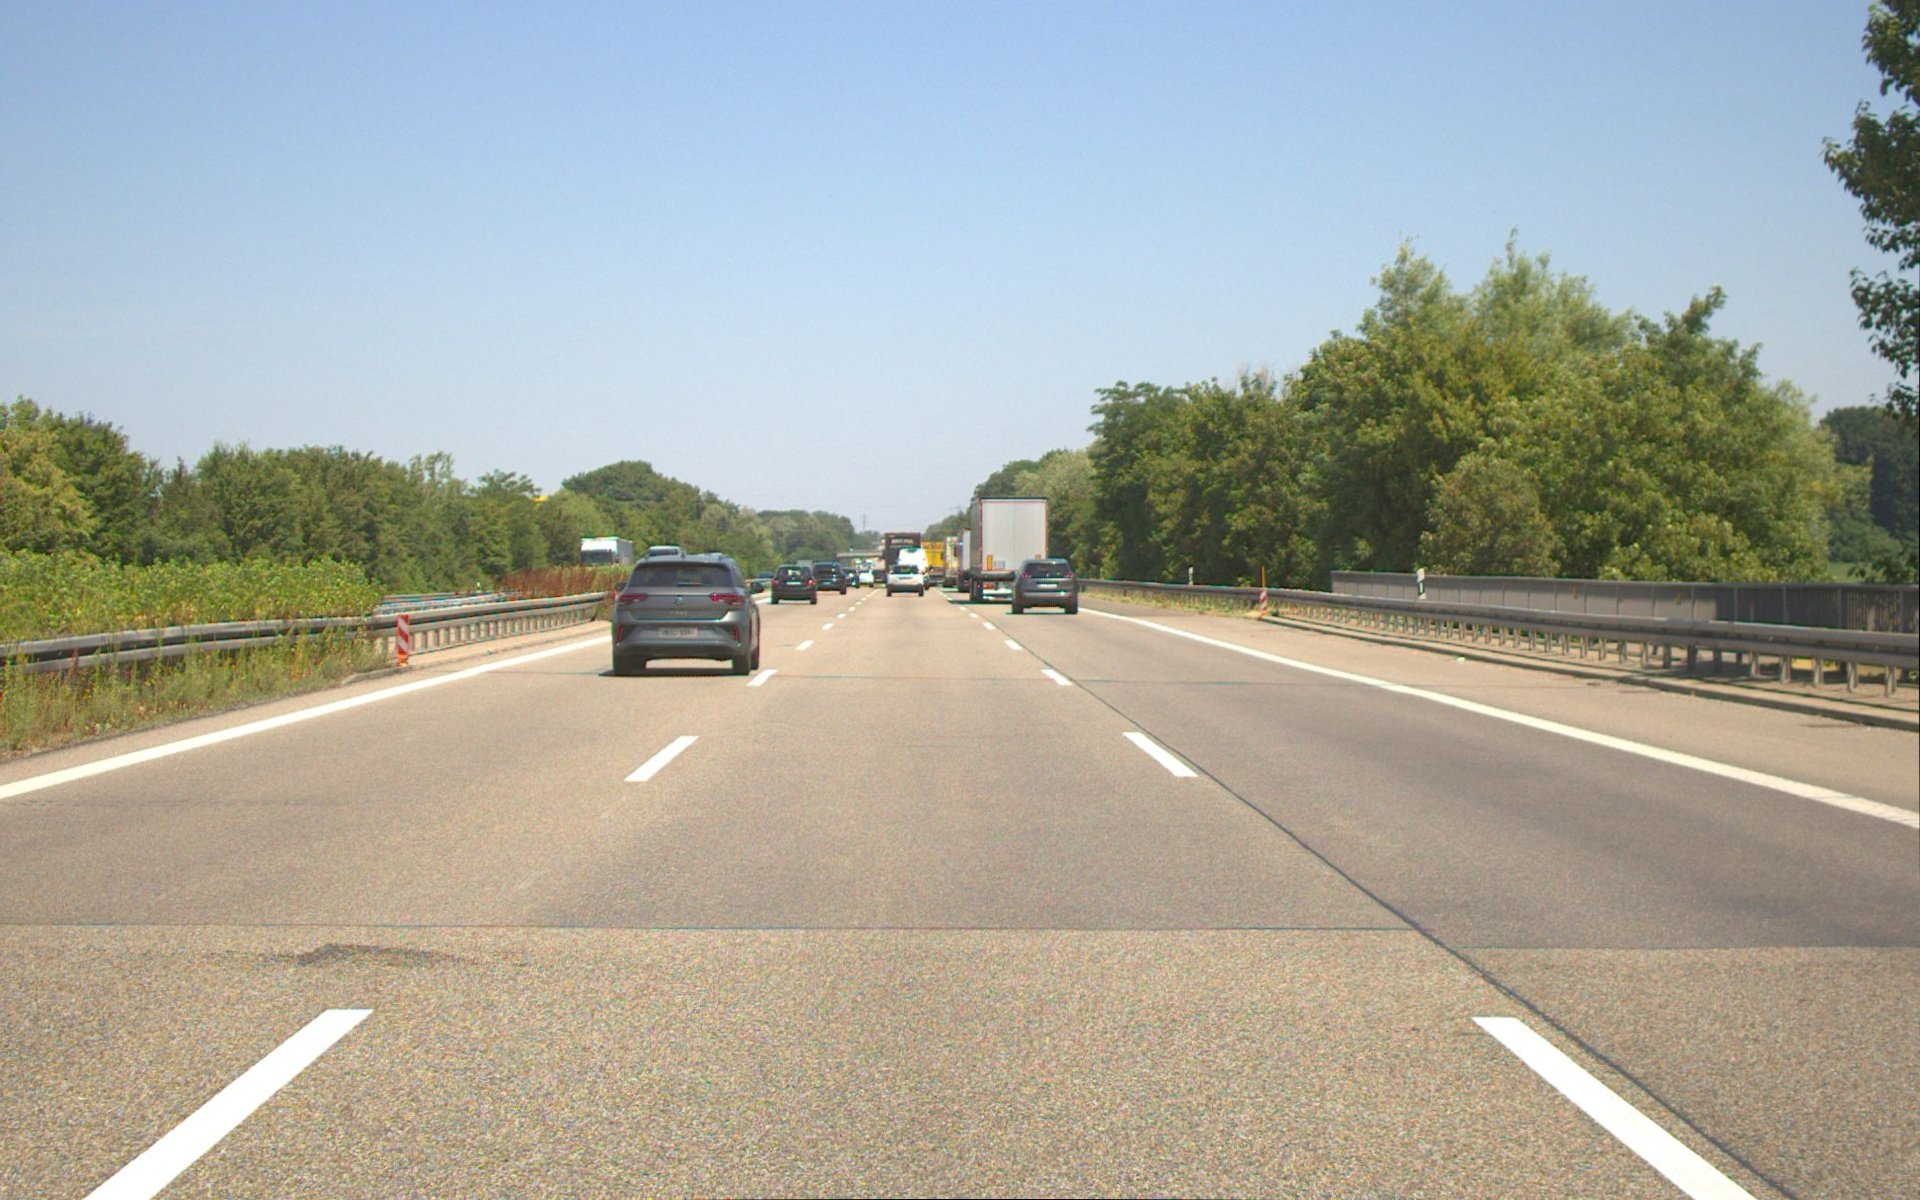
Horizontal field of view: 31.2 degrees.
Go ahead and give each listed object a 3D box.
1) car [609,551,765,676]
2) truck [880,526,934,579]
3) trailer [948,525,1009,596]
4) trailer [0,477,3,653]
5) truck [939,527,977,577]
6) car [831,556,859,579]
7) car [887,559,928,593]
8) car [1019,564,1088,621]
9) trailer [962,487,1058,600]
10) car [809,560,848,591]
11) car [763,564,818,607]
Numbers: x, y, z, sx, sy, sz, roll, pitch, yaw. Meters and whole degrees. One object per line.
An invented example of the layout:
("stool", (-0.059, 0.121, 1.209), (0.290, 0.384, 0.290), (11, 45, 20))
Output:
("car", (-3.567, 0.139, 45.505), (1.759, 1.525, 4.286), (1, 1, -1))
("truck", (-3.791, -3.456, 247.579), (3.667, 3.713, 7.108), (1, 1, 0))
("trailer", (1.001, -2.304, 196.440), (3.122, 3.913, 9.937), (1, 1, -2))
("trailer", (-22.961, -0.719, 72.974), (2.925, 3.977, 9.660), (1, 1, -2))
("truck", (-0.123, -3.658, 260.944), (2.792, 3.713, 7.108), (1, 1, 0))
("car", (-8.243, -2.336, 246.312), (1.907, 1.525, 4.286), (1, 1, -1))
("car", (-2.511, -1.155, 164.250), (1.900, 1.525, 4.084), (1, 1, -1))
("car", (2.726, -0.233, 100.996), (1.845, 1.623, 4.135), (-1, 1, 0))
("trailer", (1.872, -2.141, 135.062), (3.434, 4.167, 13.633), (1, 0, -1))
("car", (-6.791, -1.280, 177.816), (1.907, 1.525, 4.286), (1, 1, -1))
("car", (-6.325, -0.552, 128.450), (1.900, 1.525, 4.084), (1, 1, -1))
